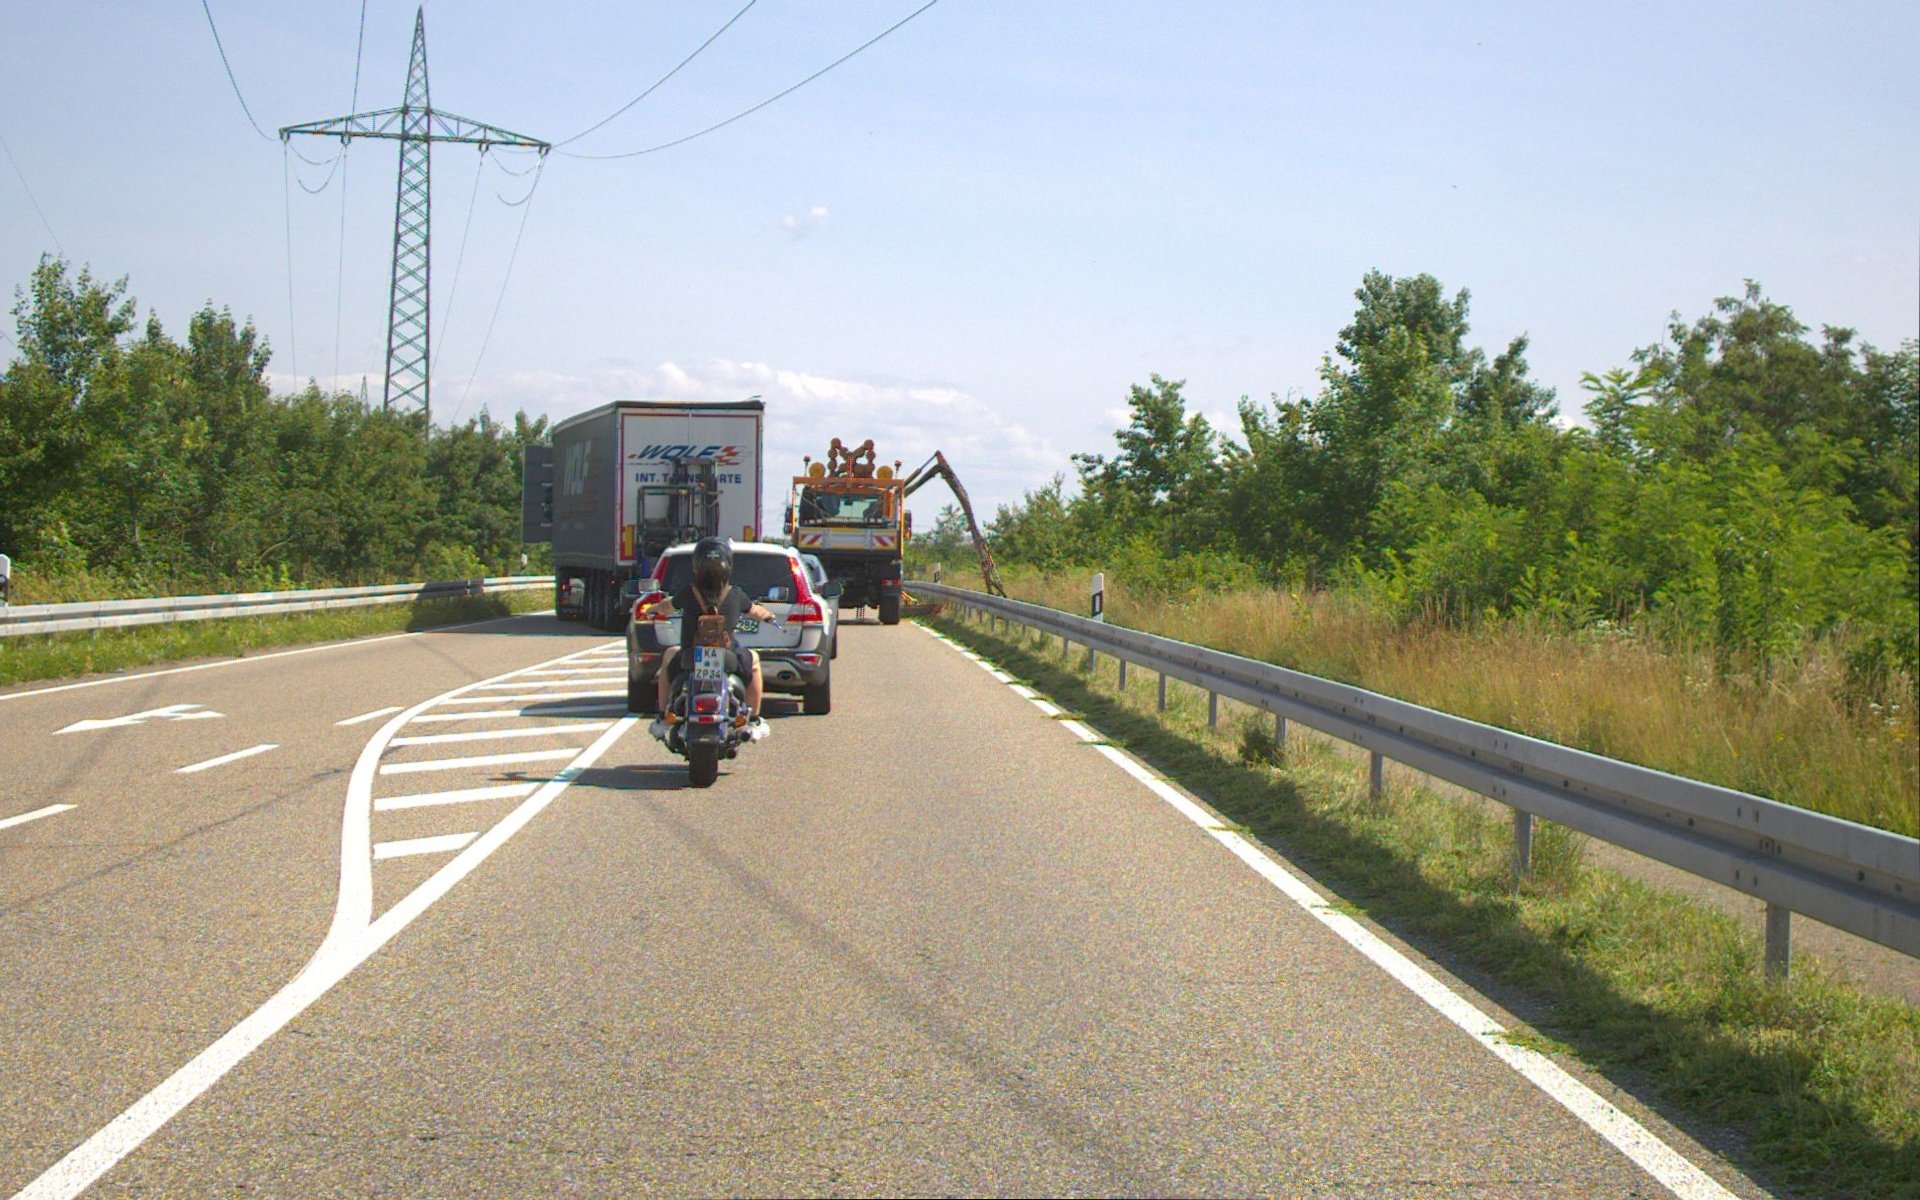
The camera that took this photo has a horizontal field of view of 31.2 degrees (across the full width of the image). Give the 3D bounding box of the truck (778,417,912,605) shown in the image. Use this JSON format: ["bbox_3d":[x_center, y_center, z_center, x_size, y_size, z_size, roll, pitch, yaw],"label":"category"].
[{"bbox_3d":[-2.465,-1.833,72.038,2.613,3.698,6.778,1,1,-3],"label":"truck"}]

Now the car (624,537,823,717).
[{"bbox_3d":[-2.165,0.207,31.621,1.701,1.531,3.500,1,1,-4],"label":"car"}]

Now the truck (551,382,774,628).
[{"bbox_3d":[-5.965,-1.770,66.363,2.967,4.172,14.826,1,1,-10],"label":"truck"}]

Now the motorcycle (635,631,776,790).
[{"bbox_3d":[-1.628,0.685,22.103,0.858,0.912,2.228,0,1,-4],"label":"motorcycle"}]

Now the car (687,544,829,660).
[{"bbox_3d":[-2.784,-0.006,47.687,1.854,1.484,3.741,1,1,-3],"label":"car"}]

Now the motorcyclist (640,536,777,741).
[{"bbox_3d":[-1.613,0.237,22.119,0.837,1.276,0.919,1,1,-4],"label":"motorcyclist"}]
